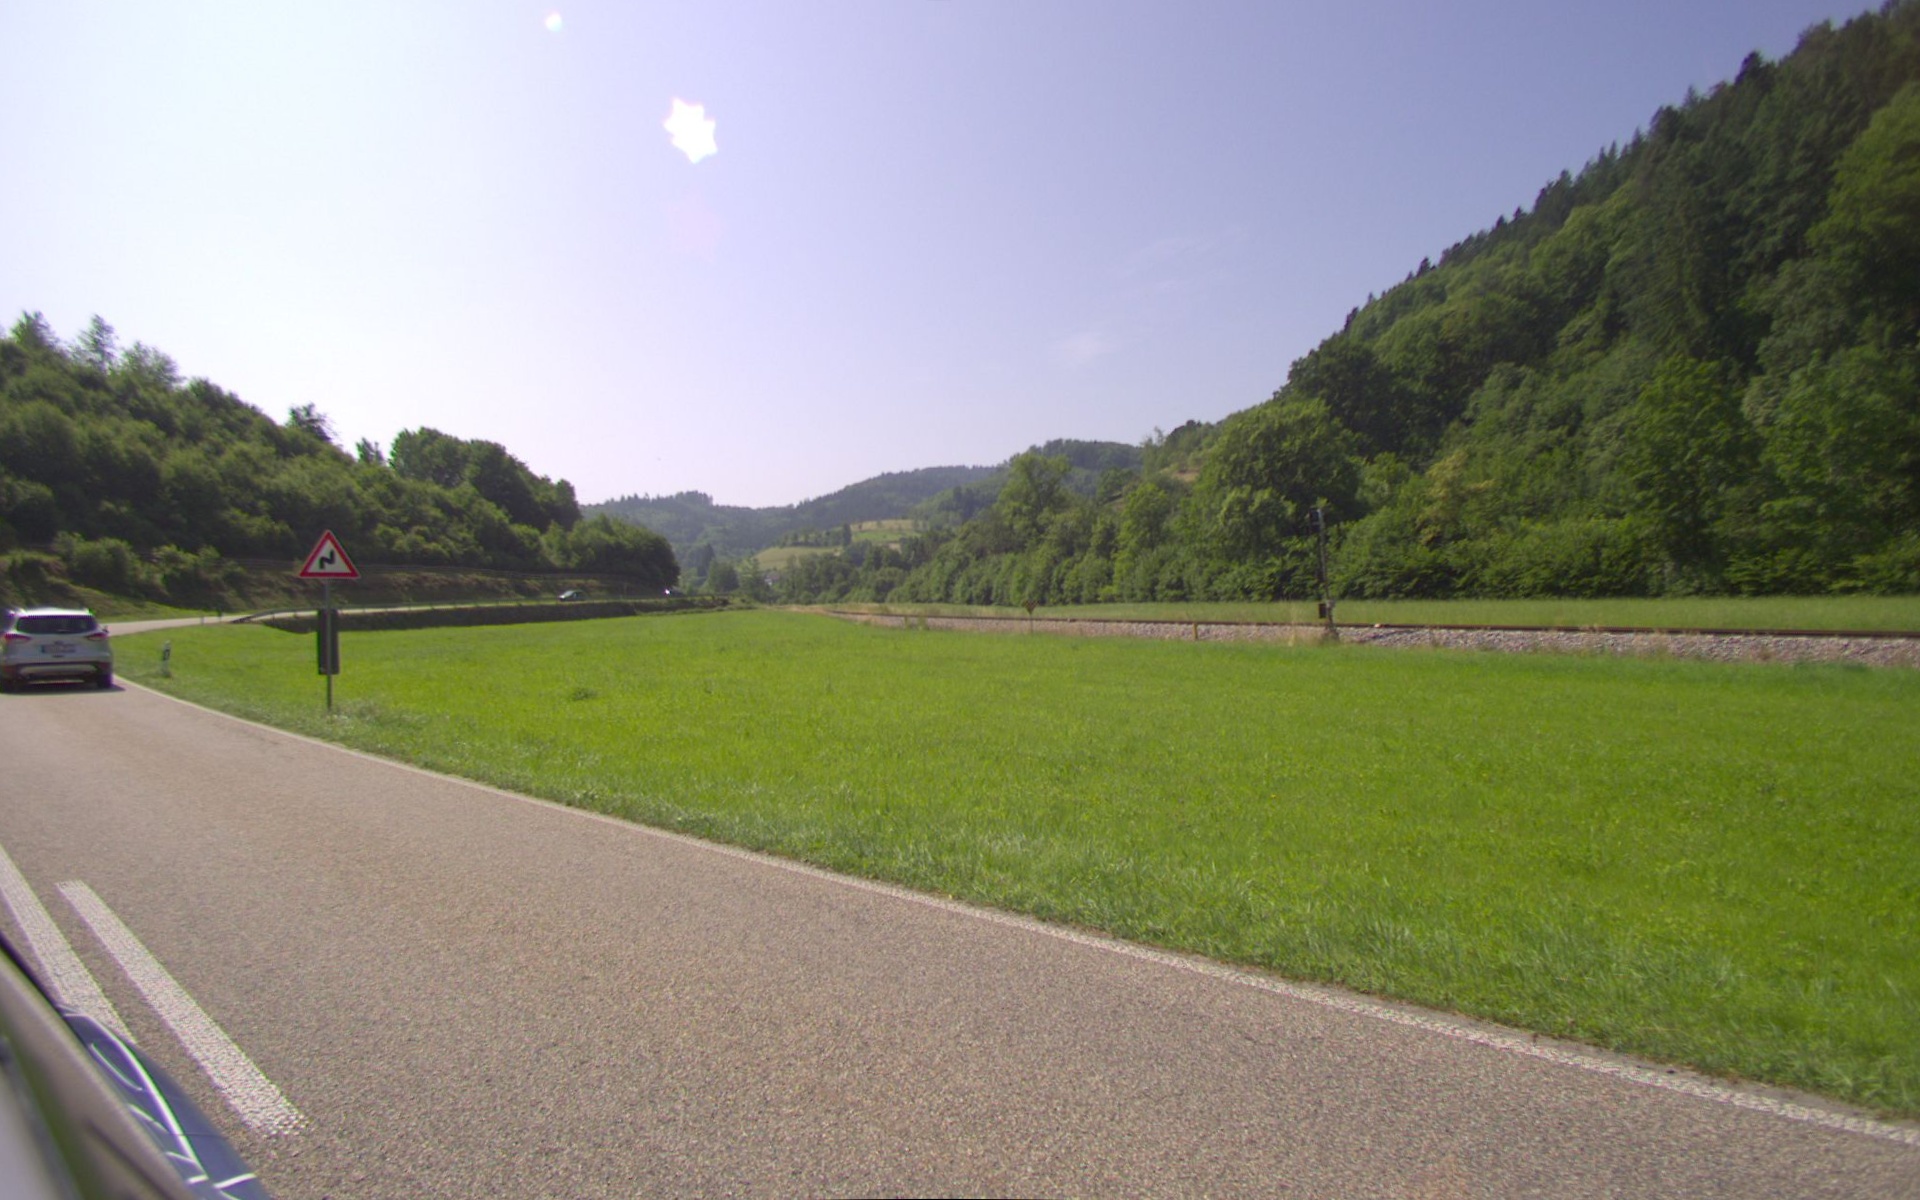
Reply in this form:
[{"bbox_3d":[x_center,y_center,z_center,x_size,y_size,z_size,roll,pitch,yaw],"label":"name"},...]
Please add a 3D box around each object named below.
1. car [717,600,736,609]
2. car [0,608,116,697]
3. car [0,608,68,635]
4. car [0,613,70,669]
[{"bbox_3d":[-47.396,0.851,205.666,1.936,1.753,4.877,0,-1,12],"label":"car"},{"bbox_3d":[-19.556,1.080,21.635,4.160,1.727,1.894,-2,-2,44],"label":"car"},{"bbox_3d":[-57.330,1.354,62.343,2.110,1.502,4.687,1,-3,-23],"label":"car"},{"bbox_3d":[-29.878,1.299,32.499,1.843,1.636,4.515,0,-1,-43],"label":"car"}]
